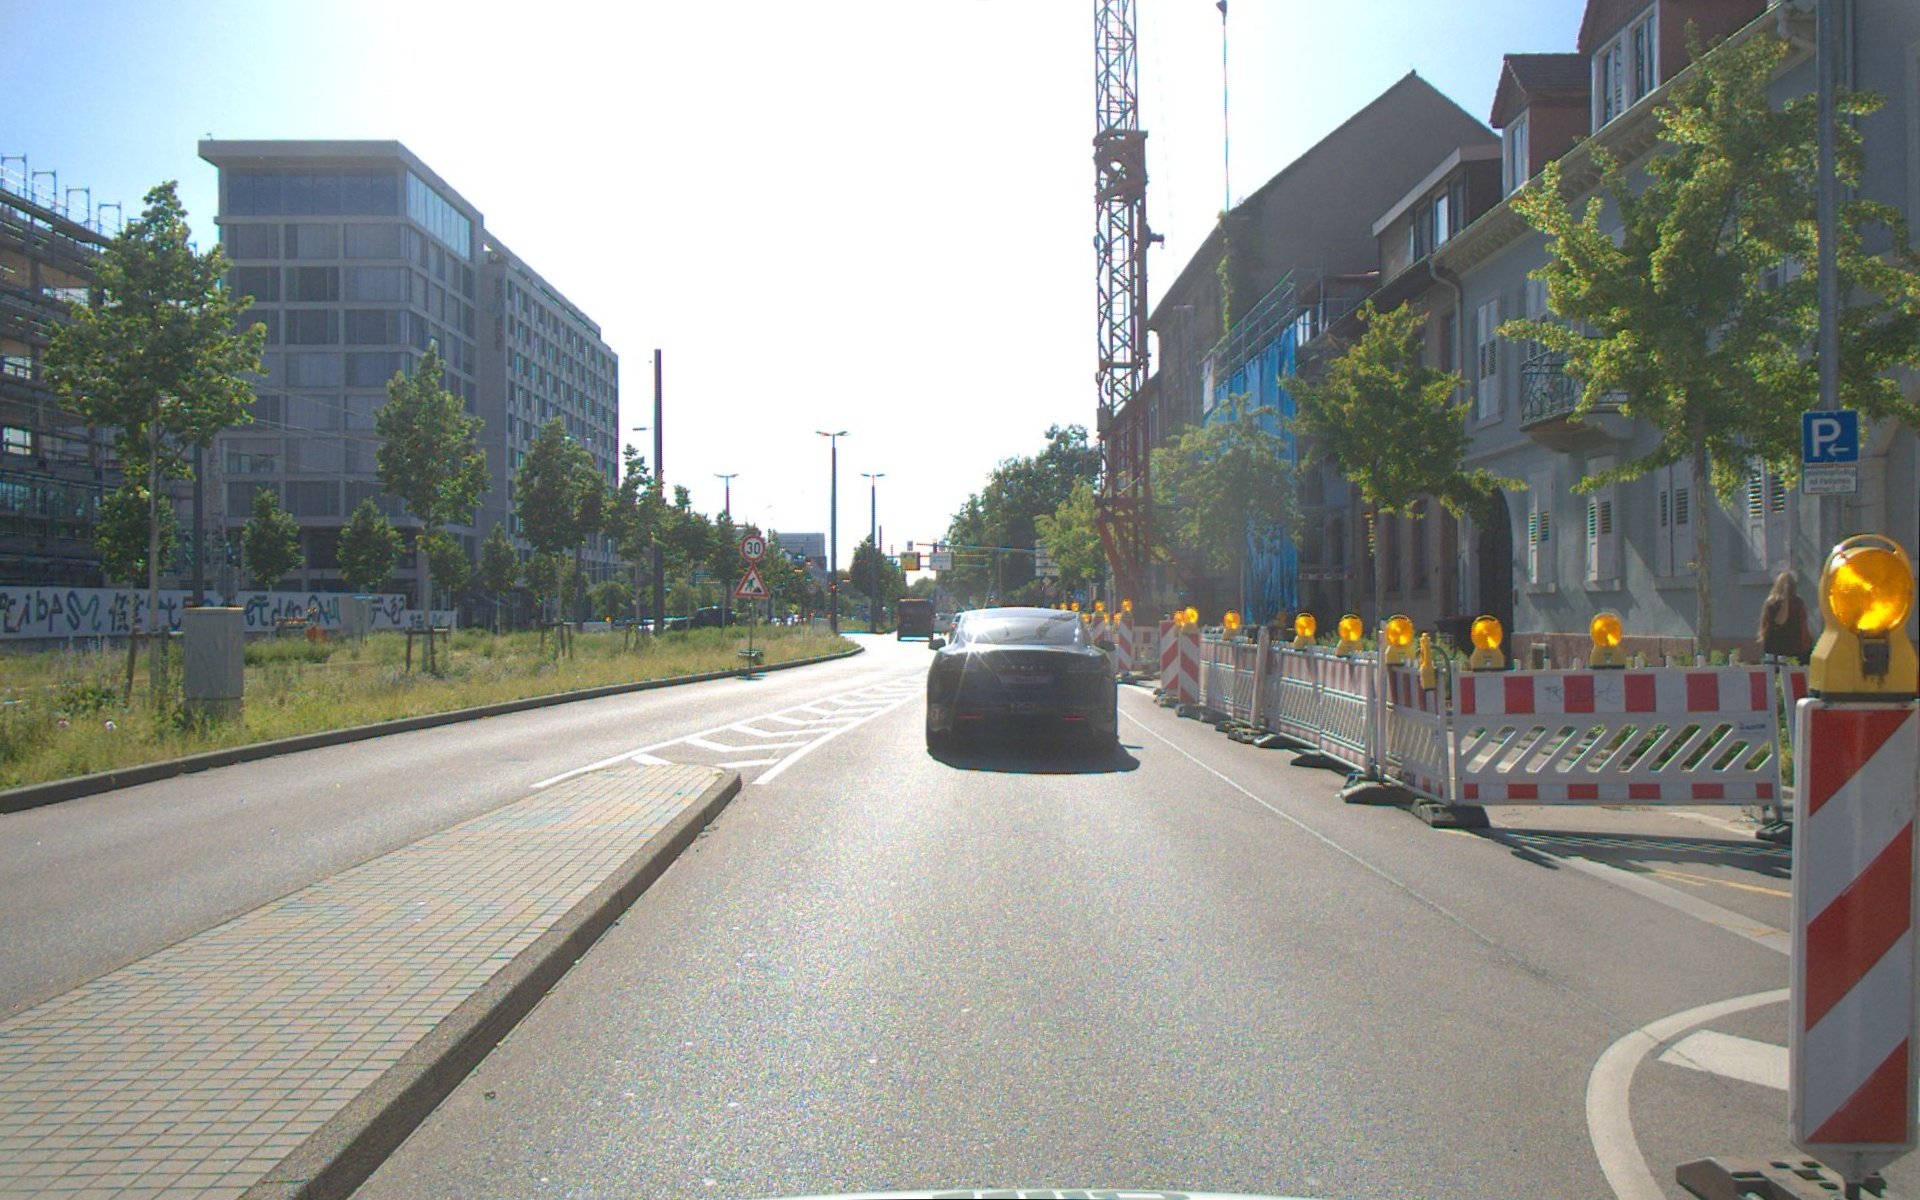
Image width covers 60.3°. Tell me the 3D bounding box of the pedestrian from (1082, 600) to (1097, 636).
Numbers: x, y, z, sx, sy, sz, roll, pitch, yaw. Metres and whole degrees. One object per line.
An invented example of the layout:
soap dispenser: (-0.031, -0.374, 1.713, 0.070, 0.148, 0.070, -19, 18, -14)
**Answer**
pedestrian: (7.142, 0.979, 91.136, 0.645, 1.946, 0.587, -3, -1, -2)

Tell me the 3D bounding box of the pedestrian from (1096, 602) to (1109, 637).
pedestrian: (7.868, 1.077, 91.170, 0.551, 1.852, 0.587, -3, -1, -1)

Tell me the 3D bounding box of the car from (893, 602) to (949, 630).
car: (-2.760, 1.132, 116.474, 3.895, 1.952, 1.913, 0, -1, -5)

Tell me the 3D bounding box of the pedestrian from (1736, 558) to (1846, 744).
pedestrian: (8.996, 0.545, 17.927, 0.777, 1.962, 0.770, 0, -1, -4)

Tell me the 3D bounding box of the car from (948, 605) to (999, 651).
car: (0.451, 0.974, 58.495, 1.714, 1.554, 4.004, 1, -1, 0)

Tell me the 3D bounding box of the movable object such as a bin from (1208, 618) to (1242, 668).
movable object such as a bin: (6.044, 0.975, 37.772, 0.583, 1.076, 0.730, -4, -1, 0)

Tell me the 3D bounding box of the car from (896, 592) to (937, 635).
car: (-2.391, 0.727, 90.893, 2.173, 2.307, 4.482, 1, 0, -2)

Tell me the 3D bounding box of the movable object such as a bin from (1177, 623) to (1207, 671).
movable object such as a bin: (5.270, 1.065, 37.560, 0.575, 1.076, 0.730, 1, -1, 0)

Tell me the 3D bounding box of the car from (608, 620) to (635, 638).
car: (-32.393, 2.781, 158.503, 1.754, 1.680, 3.999, -1, -1, 0)

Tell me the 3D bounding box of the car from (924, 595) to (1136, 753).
car: (0.634, 0.729, 18.091, 2.010, 1.469, 4.523, 1, -1, -1)

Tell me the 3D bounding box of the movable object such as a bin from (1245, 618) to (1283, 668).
movable object such as a bin: (6.918, 0.973, 37.689, 0.576, 1.076, 0.782, -5, 0, -5)

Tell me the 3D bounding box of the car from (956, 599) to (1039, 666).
car: (0.819, 0.738, 38.524, 1.712, 1.452, 4.837, 0, -1, -1)

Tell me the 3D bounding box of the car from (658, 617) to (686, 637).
car: (-24.777, 2.342, 142.325, 1.754, 1.680, 3.999, -1, -1, 0)

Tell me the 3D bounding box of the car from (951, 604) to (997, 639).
car: (0.579, 0.929, 71.128, 1.756, 1.453, 3.847, 1, -1, -2)
